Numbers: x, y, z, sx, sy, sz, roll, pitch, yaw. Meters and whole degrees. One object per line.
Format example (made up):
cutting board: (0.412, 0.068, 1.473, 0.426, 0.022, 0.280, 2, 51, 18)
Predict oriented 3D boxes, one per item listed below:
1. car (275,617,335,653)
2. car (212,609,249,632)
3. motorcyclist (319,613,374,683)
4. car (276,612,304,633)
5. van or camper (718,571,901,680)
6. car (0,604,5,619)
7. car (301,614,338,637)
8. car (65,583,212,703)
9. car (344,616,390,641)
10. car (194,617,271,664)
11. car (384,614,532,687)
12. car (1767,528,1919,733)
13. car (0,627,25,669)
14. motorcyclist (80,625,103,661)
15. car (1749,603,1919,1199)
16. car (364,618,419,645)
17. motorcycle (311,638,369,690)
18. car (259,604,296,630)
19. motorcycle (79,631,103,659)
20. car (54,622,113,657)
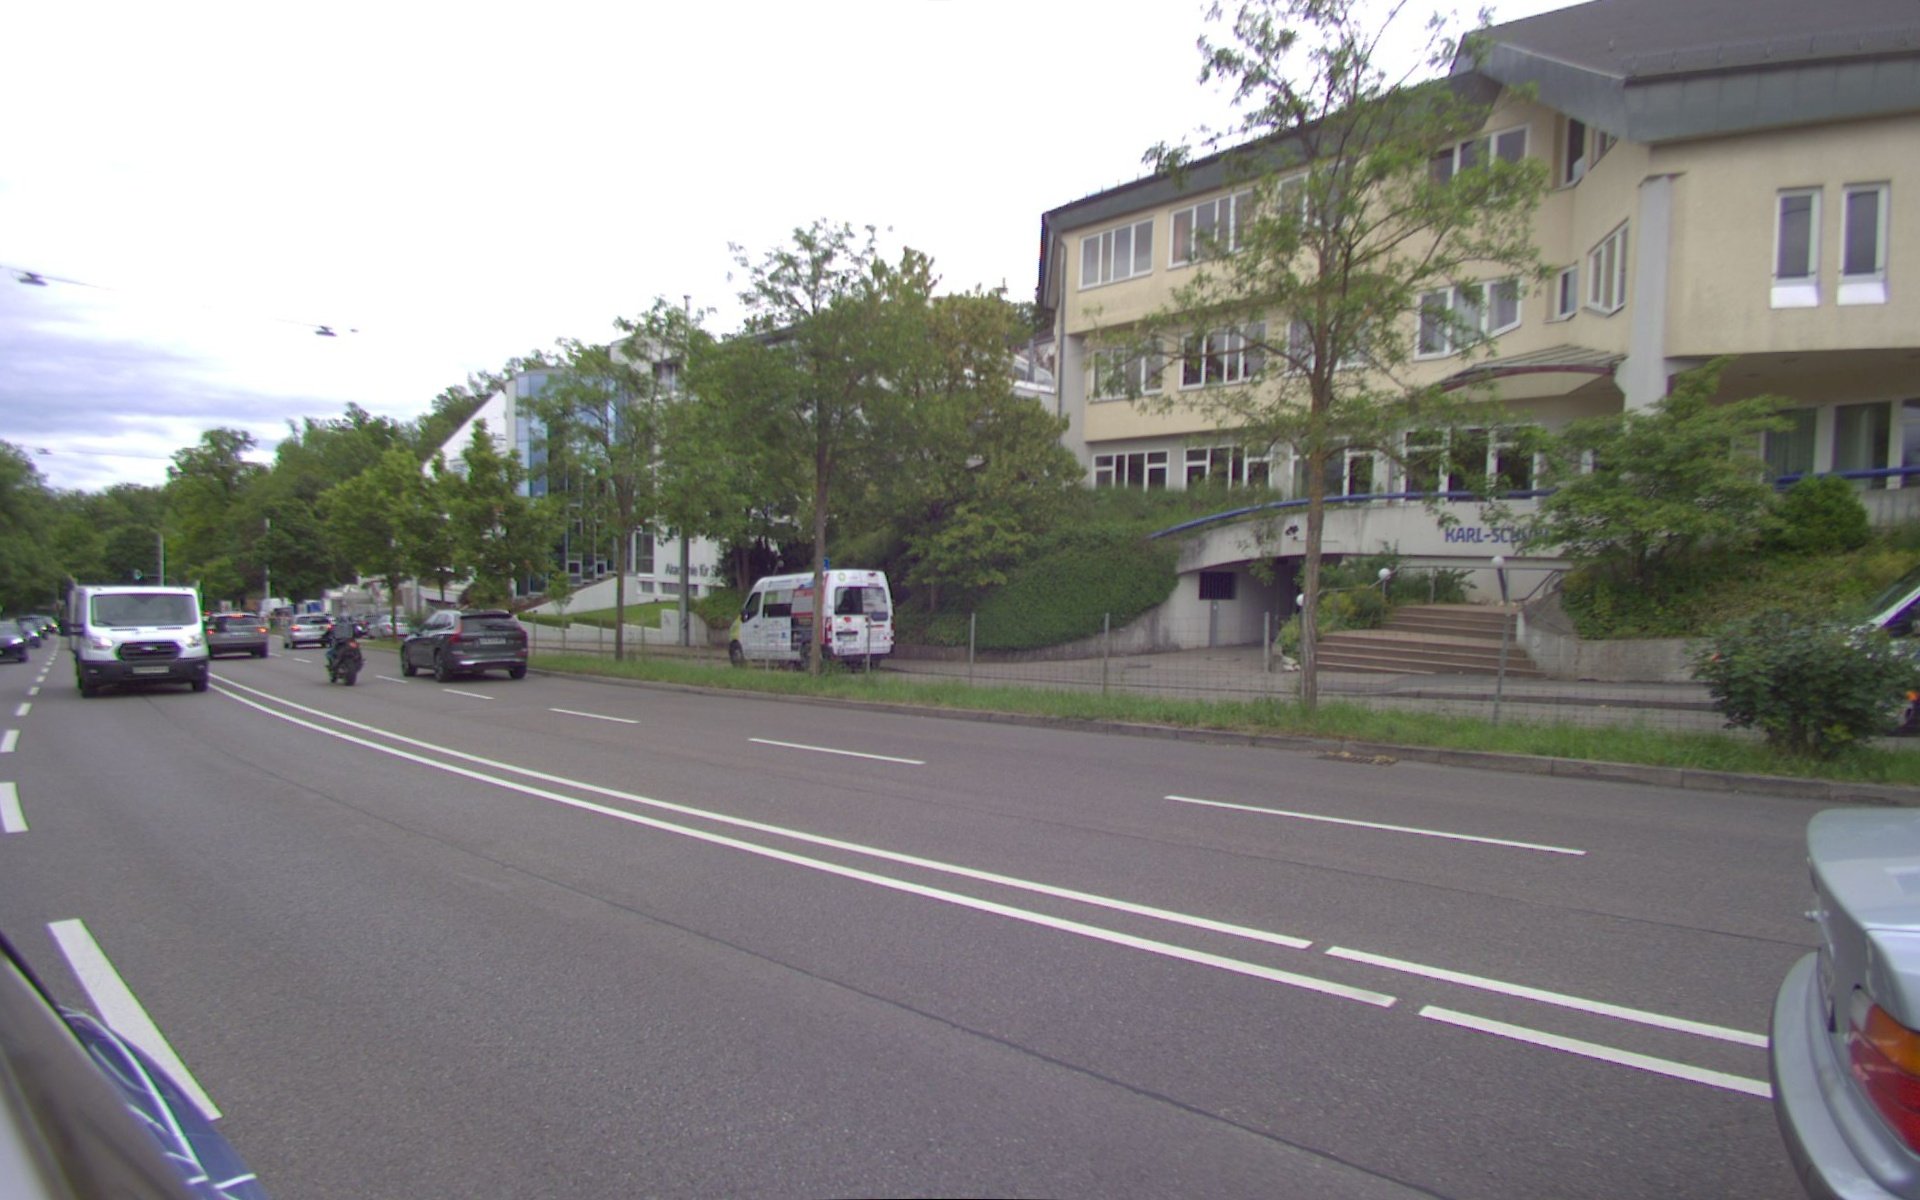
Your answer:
car: (-28.424, 1.501, 43.863, 1.546, 1.442, 3.895, -1, 0, -42)
car: (-58.032, 1.656, 80.477, 1.743, 1.721, 4.874, -1, 0, -43)
motorcyclist: (-13.493, 1.052, 22.261, 0.961, 1.496, 0.752, -1, -3, 43)
car: (-60.966, 1.999, 92.052, 1.783, 1.764, 4.259, -2, 1, -37)
van or camper: (-4.013, 0.625, 26.025, 1.968, 2.491, 5.719, 0, -1, -40)
car: (-126.819, 1.533, 132.688, 3.999, 1.906, 1.972, -1, -1, 42)
car: (-44.862, 1.773, 70.832, 1.647, 1.515, 4.245, 0, -1, -40)
car: (-17.603, 0.856, 21.545, 1.970, 2.190, 6.274, -1, -1, -43)
car: (-36.012, 1.681, 61.393, 1.652, 1.439, 4.095, 0, -1, -41)
car: (-25.731, 1.389, 35.743, 1.763, 1.550, 4.080, 0, -1, -42)
car: (-12.122, 1.154, 24.309, 4.469, 1.587, 1.765, -2, -2, 44)
car: (12.970, 0.324, 11.074, 6.314, 2.290, 2.247, -1, -1, 36)
car: (-34.820, 1.714, 36.382, 1.709, 1.421, 4.003, -1, 0, -44)
motorcyclist: (-37.438, 1.844, 43.604, 0.611, 1.482, 0.931, -4, 2, -45)
car: (3.443, 0.684, 0.629, 4.615, 1.393, 1.618, -1, 0, 39)
car: (-32.420, 1.779, 57.712, 1.653, 1.439, 4.421, 3, -3, -44)
motorcycle: (-13.810, 1.398, 22.512, 2.267, 1.064, 0.478, -1, -1, 42)
car: (-70.318, 1.766, 104.227, 1.970, 2.545, 6.539, -2, 1, -44)
motorcycle: (-37.701, 1.923, 43.887, 0.566, 1.135, 2.297, -4, 2, -45)
car: (-41.972, 1.883, 48.413, 1.970, 1.560, 4.004, -1, -1, -43)
